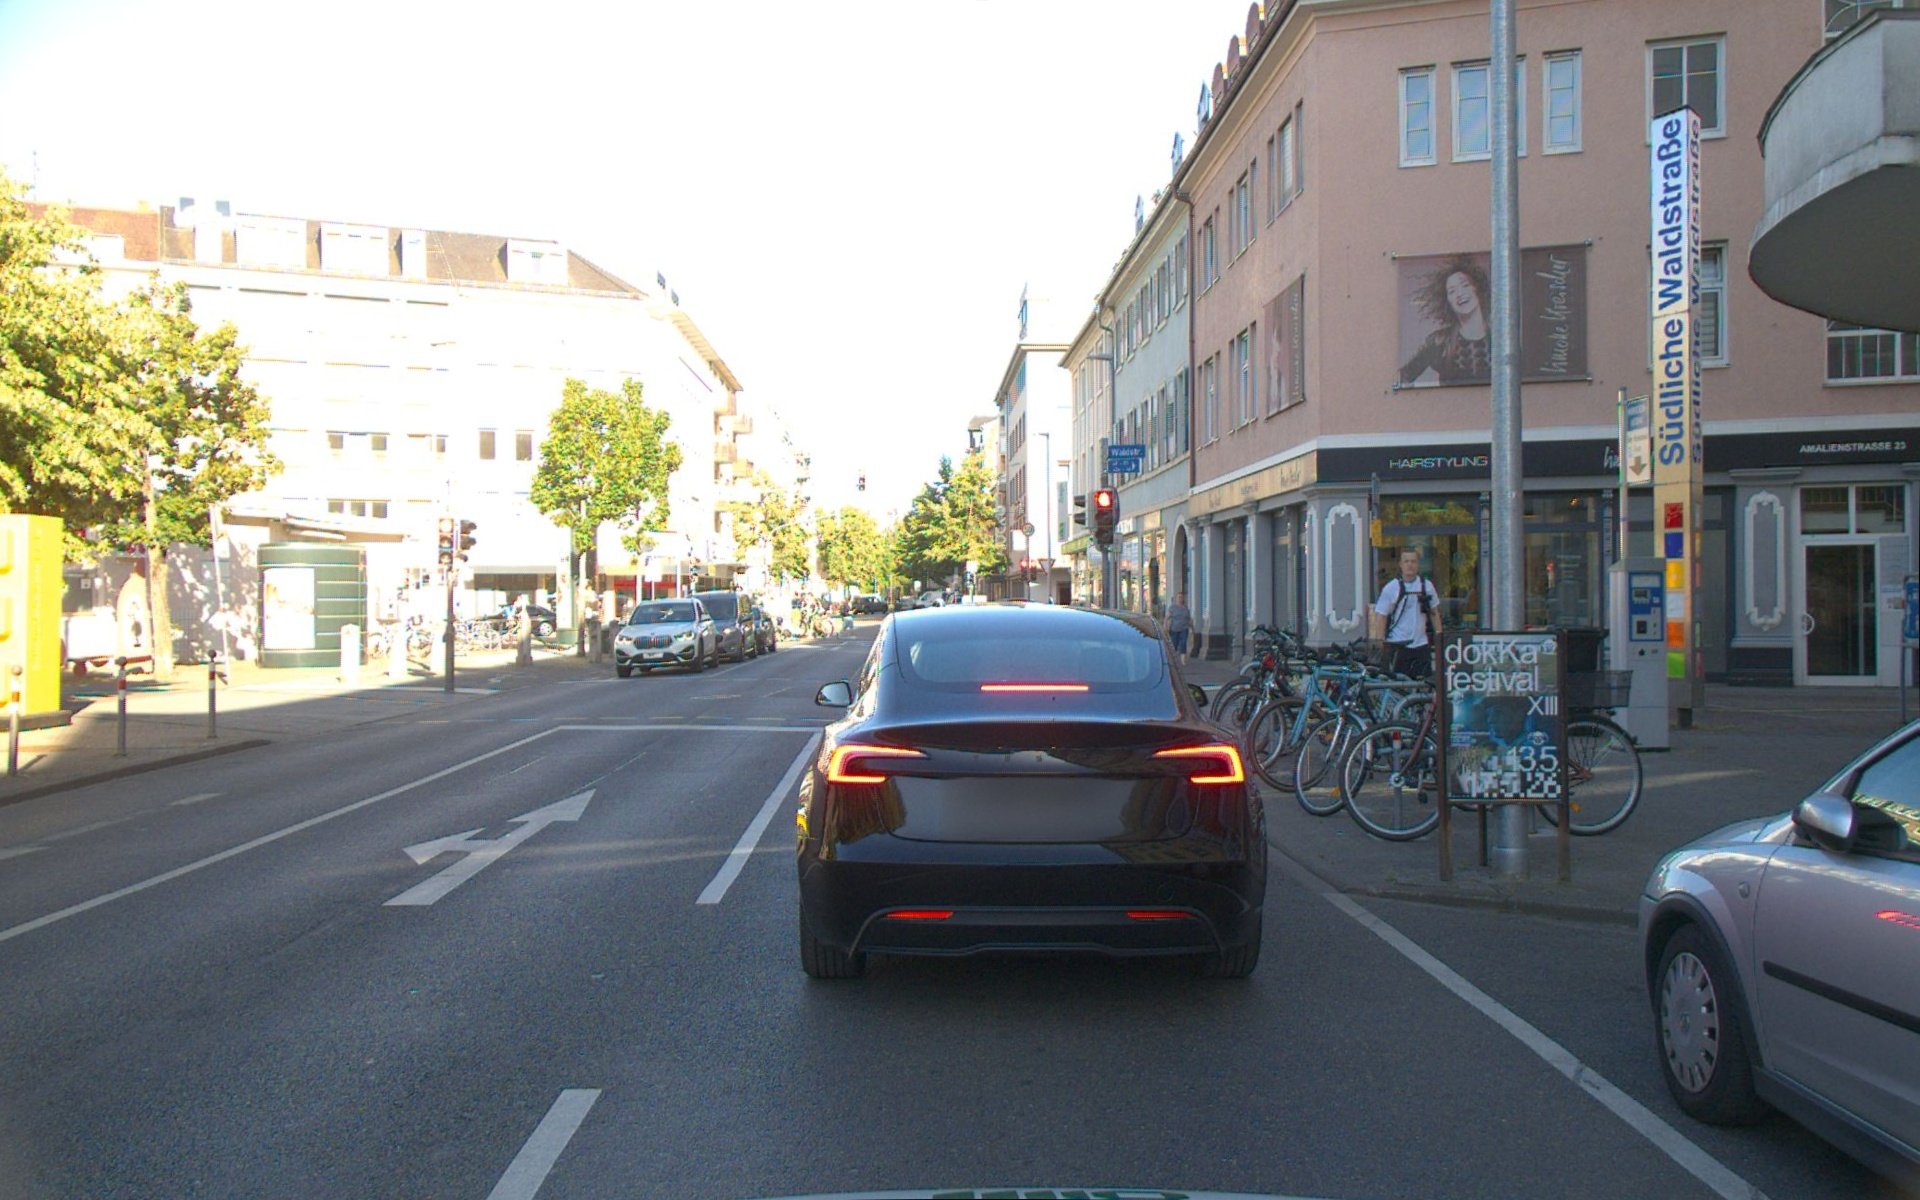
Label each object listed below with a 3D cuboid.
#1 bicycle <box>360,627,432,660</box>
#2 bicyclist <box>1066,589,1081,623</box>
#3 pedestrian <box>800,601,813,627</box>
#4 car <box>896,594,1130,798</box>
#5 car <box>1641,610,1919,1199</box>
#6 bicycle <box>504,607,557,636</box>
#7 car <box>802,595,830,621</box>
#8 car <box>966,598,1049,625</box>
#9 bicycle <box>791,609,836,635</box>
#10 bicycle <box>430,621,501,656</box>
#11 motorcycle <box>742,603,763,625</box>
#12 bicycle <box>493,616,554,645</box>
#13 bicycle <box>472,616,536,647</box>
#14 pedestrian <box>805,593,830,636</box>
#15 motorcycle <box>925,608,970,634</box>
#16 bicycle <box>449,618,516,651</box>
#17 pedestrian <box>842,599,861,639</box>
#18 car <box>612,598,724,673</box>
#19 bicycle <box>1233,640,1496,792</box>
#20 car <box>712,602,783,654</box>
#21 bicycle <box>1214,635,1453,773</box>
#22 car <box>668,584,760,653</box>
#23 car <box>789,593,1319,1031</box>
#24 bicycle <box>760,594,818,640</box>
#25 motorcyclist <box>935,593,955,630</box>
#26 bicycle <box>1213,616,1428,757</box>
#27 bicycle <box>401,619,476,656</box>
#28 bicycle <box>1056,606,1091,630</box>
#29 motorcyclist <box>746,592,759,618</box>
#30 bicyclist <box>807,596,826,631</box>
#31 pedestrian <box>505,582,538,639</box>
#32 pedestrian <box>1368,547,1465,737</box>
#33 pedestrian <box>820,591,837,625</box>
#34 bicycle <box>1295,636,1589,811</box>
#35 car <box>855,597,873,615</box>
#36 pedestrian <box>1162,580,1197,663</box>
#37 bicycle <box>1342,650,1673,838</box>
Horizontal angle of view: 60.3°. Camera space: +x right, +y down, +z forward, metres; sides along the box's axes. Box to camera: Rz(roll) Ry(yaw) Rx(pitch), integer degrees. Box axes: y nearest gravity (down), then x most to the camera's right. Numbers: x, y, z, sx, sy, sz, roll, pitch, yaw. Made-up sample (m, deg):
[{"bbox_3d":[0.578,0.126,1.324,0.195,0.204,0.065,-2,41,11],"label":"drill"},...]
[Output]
[{"bbox_3d":[-14.450,1.110,42.395,1.612,0.806,0.606,1,0,-5],"label":"bicycle"},{"bbox_3d":[5.128,0.283,74.833,0.516,1.530,0.472,1,-1,-25],"label":"bicyclist"},{"bbox_3d":[-8.471,0.773,91.354,0.516,1.447,0.474,1,-1,-31],"label":"pedestrian"},{"bbox_3d":[0.314,0.686,13.794,1.683,1.450,3.755,0,0,-2],"label":"car"},{"bbox_3d":[2.912,0.777,3.490,1.515,1.414,3.477,0,1,0],"label":"car"},{"bbox_3d":[-20.138,1.024,77.538,2.334,1.318,0.509,1,-1,-27],"label":"bicycle"},{"bbox_3d":[-9.010,0.512,103.549,1.673,1.579,3.692,0,0,-6],"label":"car"},{"bbox_3d":[2.472,0.594,86.345,3.930,1.378,1.897,0,0,-22],"label":"car"},{"bbox_3d":[-5.967,0.900,67.208,1.756,1.024,0.469,1,-1,-17],"label":"bicycle"},{"bbox_3d":[-14.078,1.084,47.131,1.826,0.950,0.606,1,0,-2],"label":"bicycle"},{"bbox_3d":[-10.245,0.683,81.706,0.970,1.105,0.351,0,0,-38],"label":"motorcycle"},{"bbox_3d":[-14.367,0.996,54.461,1.826,0.950,0.606,0,0,-2],"label":"bicycle"},{"bbox_3d":[-14.332,0.987,52.013,1.826,0.950,0.606,0,0,-2],"label":"bicycle"},{"bbox_3d":[-5.663,0.579,65.724,0.742,1.660,0.951,1,-1,-18],"label":"pedestrian"},{"bbox_3d":[-0.545,0.899,71.135,1.900,1.130,0.515,0,0,-22],"label":"motorcycle"},{"bbox_3d":[-14.314,1.045,49.601,1.826,0.950,0.606,1,0,-2],"label":"bicycle"},{"bbox_3d":[-4.247,0.752,64.863,0.612,1.565,0.511,1,-1,-19],"label":"pedestrian"},{"bbox_3d":[-6.299,0.740,36.036,1.752,1.485,3.756,-2,0,-1],"label":"car"},{"bbox_3d":[3.025,0.863,12.473,1.834,1.056,0.533,-2,-1,3],"label":"bicycle"},{"bbox_3d":[-6.358,0.813,49.856,1.680,1.471,3.844,1,0,-1],"label":"car"},{"bbox_3d":[3.059,0.848,13.665,1.833,1.056,0.548,-2,-1,5],"label":"bicycle"},{"bbox_3d":[-6.238,0.441,42.299,1.751,1.675,4.401,0,0,-1],"label":"car"},{"bbox_3d":[0.292,0.721,7.568,1.785,1.467,3.999,0,0,-1],"label":"car"},{"bbox_3d":[-6.469,0.658,62.652,2.068,1.694,0.666,1,-1,-17],"label":"bicycle"},{"bbox_3d":[-0.644,0.500,71.098,0.709,1.555,0.513,0,0,-22],"label":"motorcyclist"},{"bbox_3d":[3.202,0.766,14.788,1.789,1.189,0.506,-2,-1,5],"label":"bicycle"},{"bbox_3d":[-14.167,1.013,44.976,1.826,0.950,0.606,1,0,-2],"label":"bicycle"},{"bbox_3d":[5.155,0.819,74.843,1.536,1.030,0.480,1,-1,-25],"label":"bicycle"},{"bbox_3d":[-10.243,0.226,81.704,0.486,1.275,0.350,1,-1,-38],"label":"motorcyclist"},{"bbox_3d":[-5.843,0.543,67.243,0.659,1.420,0.460,1,-1,-17],"label":"bicyclist"},{"bbox_3d":[-16.067,0.374,60.598,1.041,2.049,1.049,1,-1,-20],"label":"pedestrian"},{"bbox_3d":[4.452,0.401,16.178,0.735,1.796,0.837,1,-1,3],"label":"pedestrian"},{"bbox_3d":[-7.249,0.440,91.232,0.666,1.820,0.703,1,-1,-36],"label":"pedestrian"},{"bbox_3d":[3.244,0.827,11.215,1.834,1.106,0.414,-2,-1,3],"label":"bicycle"},{"bbox_3d":[-9.340,0.604,161.150,1.716,1.718,3.830,1,0,-3],"label":"car"},{"bbox_3d":[4.748,0.461,35.824,0.691,1.773,0.540,0,0,2],"label":"pedestrian"},{"bbox_3d":[3.278,0.864,9.984,1.833,1.056,0.353,-2,-1,6],"label":"bicycle"}]
